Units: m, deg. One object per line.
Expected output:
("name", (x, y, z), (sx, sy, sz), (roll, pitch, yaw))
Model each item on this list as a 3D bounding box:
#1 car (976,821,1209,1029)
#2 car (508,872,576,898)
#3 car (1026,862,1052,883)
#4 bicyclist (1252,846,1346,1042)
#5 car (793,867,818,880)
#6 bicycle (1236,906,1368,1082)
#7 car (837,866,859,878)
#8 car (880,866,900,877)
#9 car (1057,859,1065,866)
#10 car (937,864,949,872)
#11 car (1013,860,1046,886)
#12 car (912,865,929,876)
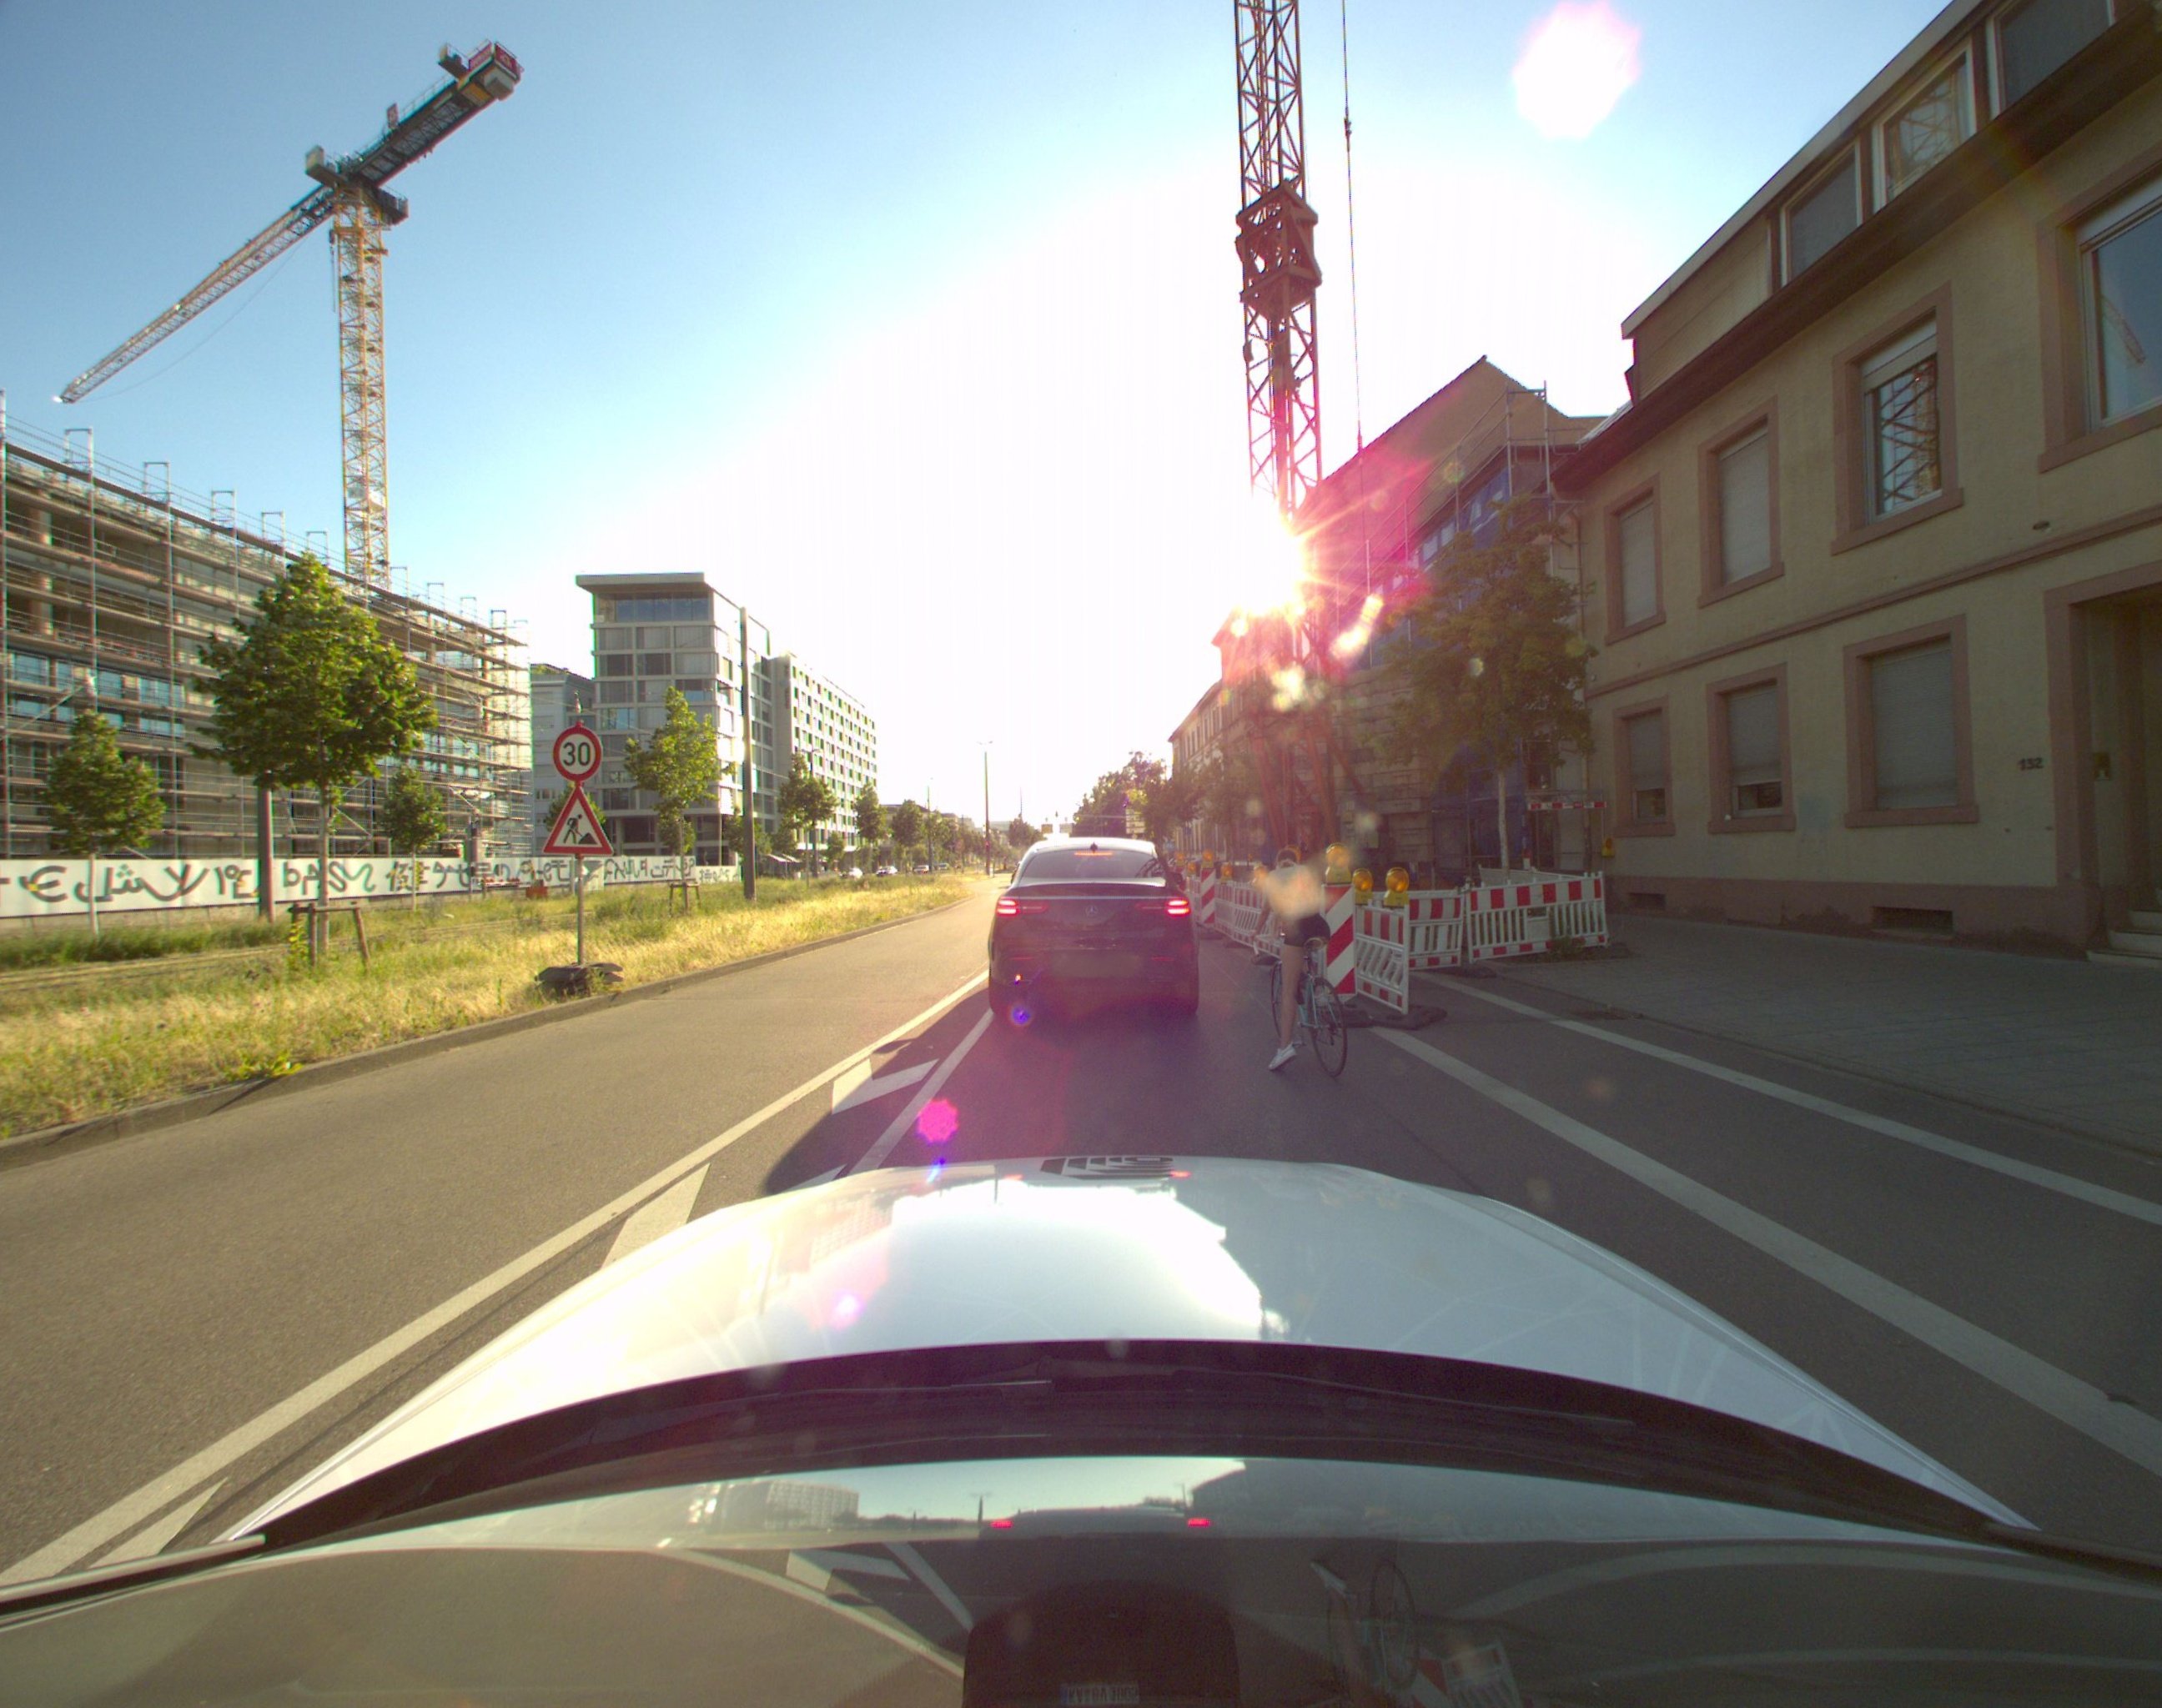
("car", (0.163, 0.626, 8.989), (1.986, 1.772, 4.001), (0, -1, 2))
("car", (-32.563, 1.860, 49.301), (1.703, 1.442, 3.581), (0, -1, 0))
("car", (-3.034, 1.333, 59.690), (1.703, 1.442, 3.581), (0, -1, 0))
("bicyclist", (1.624, 0.645, 6.134), (0.521, 1.395, 0.614), (0, -1, -1))
("car", (-32.343, 2.235, 95.807), (1.703, 1.442, 3.581), (0, -1, 0))
("bicycle", (1.615, 0.977, 6.220), (0.511, 1.052, 1.724), (0, -1, -1))
("car", (-28.846, 2.252, 100.712), (1.703, 1.442, 3.581), (0, -1, 0))
("car", (-24.780, 2.265, 105.646), (1.703, 1.442, 3.581), (0, -1, 0))
("car", (-4.491, 1.916, 183.914), (1.703, 1.442, 3.581), (0, -1, 0))
("car", (-25.617, 2.640, 151.221), (1.703, 1.442, 3.581), (0, -1, 0))
("car", (-2.963, 1.086, 47.425), (1.703, 1.442, 3.581), (0, -1, 0))
("car", (-22.774, 2.332, 115.530), (1.703, 1.442, 3.581), (0, -1, 0))
